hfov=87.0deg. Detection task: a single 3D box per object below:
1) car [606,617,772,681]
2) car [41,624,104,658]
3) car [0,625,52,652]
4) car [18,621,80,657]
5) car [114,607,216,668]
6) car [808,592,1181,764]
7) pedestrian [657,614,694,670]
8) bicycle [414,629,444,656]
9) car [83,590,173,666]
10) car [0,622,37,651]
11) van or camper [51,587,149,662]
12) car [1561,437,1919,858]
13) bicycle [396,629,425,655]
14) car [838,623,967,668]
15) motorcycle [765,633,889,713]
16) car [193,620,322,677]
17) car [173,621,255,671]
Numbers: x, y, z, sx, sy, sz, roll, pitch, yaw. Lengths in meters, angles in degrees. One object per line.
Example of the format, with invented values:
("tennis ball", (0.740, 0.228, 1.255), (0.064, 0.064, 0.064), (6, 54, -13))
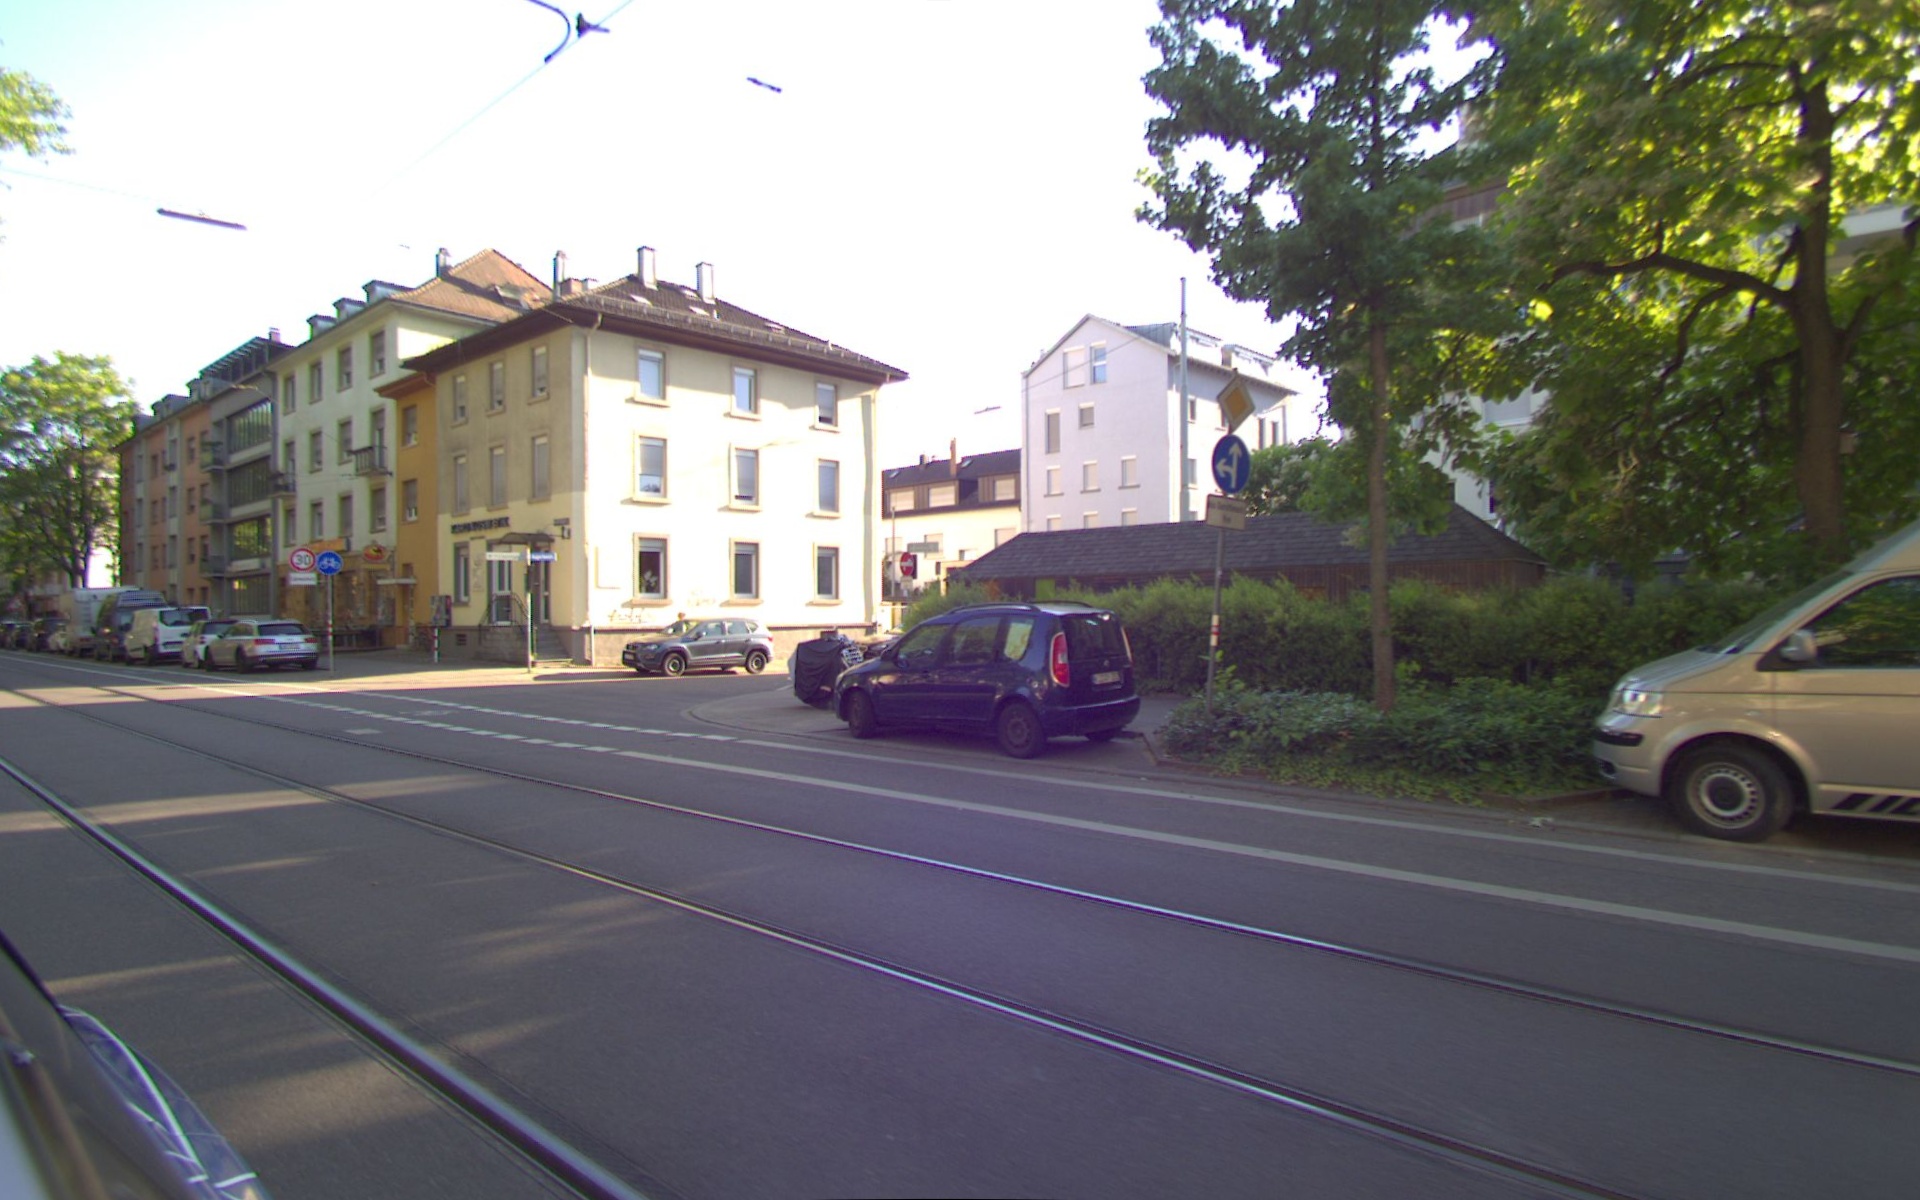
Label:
("car", (-7.436, 1.296, 28.030), (1.966, 1.630, 4.016), (-1, -2, 44))
("car", (-43.034, 1.963, 49.070), (3.470, 1.526, 1.769), (-1, 0, 40))
("car", (-54.856, 2.220, 59.343), (4.431, 1.482, 1.769), (-1, 0, 40))
("car", (-47.392, 2.003, 52.623), (4.431, 1.767, 1.769), (-1, -1, 40))
("car", (-28.762, 1.318, 36.550), (4.937, 2.062, 1.903), (-1, -1, 40))
("car", (0.275, 0.818, 12.200), (4.261, 1.703, 1.970), (-2, -2, 43))
("pedestrian", (-8.393, 1.223, 29.834), (0.753, 1.599, 0.764), (3, 2, 44))
("bicycle", (-18.593, 1.480, 35.455), (1.646, 0.935, 0.358), (-1, -2, 41))
("car", (-33.222, 1.075, 40.370), (4.544, 2.766, 1.903), (-1, 2, 41))
("car", (-58.313, 2.231, 62.183), (4.431, 1.682, 1.769), (-1, 0, 40))
("van or camper", (-38.276, 1.064, 44.974), (5.989, 2.999, 2.392), (-1, 2, 42))
("car", (7.096, 0.280, 6.443), (5.338, 2.527, 2.281), (-1, -2, 39))
("bicycle", (-19.885, 1.504, 36.605), (1.646, 0.935, 0.358), (-1, -2, 41))
("car", (-1.841, 1.452, 33.479), (1.966, 1.400, 4.016), (-1, -2, 44))
("motorcycle", (-2.131, 1.142, 15.964), (2.150, 1.148, 0.665), (-4, 0, 43))
("car", (-20.700, 1.388, 29.732), (4.934, 1.504, 1.754), (-1, 0, 38))
("car", (-24.204, 1.455, 32.820), (2.881, 1.504, 1.554), (-1, -1, 41))
